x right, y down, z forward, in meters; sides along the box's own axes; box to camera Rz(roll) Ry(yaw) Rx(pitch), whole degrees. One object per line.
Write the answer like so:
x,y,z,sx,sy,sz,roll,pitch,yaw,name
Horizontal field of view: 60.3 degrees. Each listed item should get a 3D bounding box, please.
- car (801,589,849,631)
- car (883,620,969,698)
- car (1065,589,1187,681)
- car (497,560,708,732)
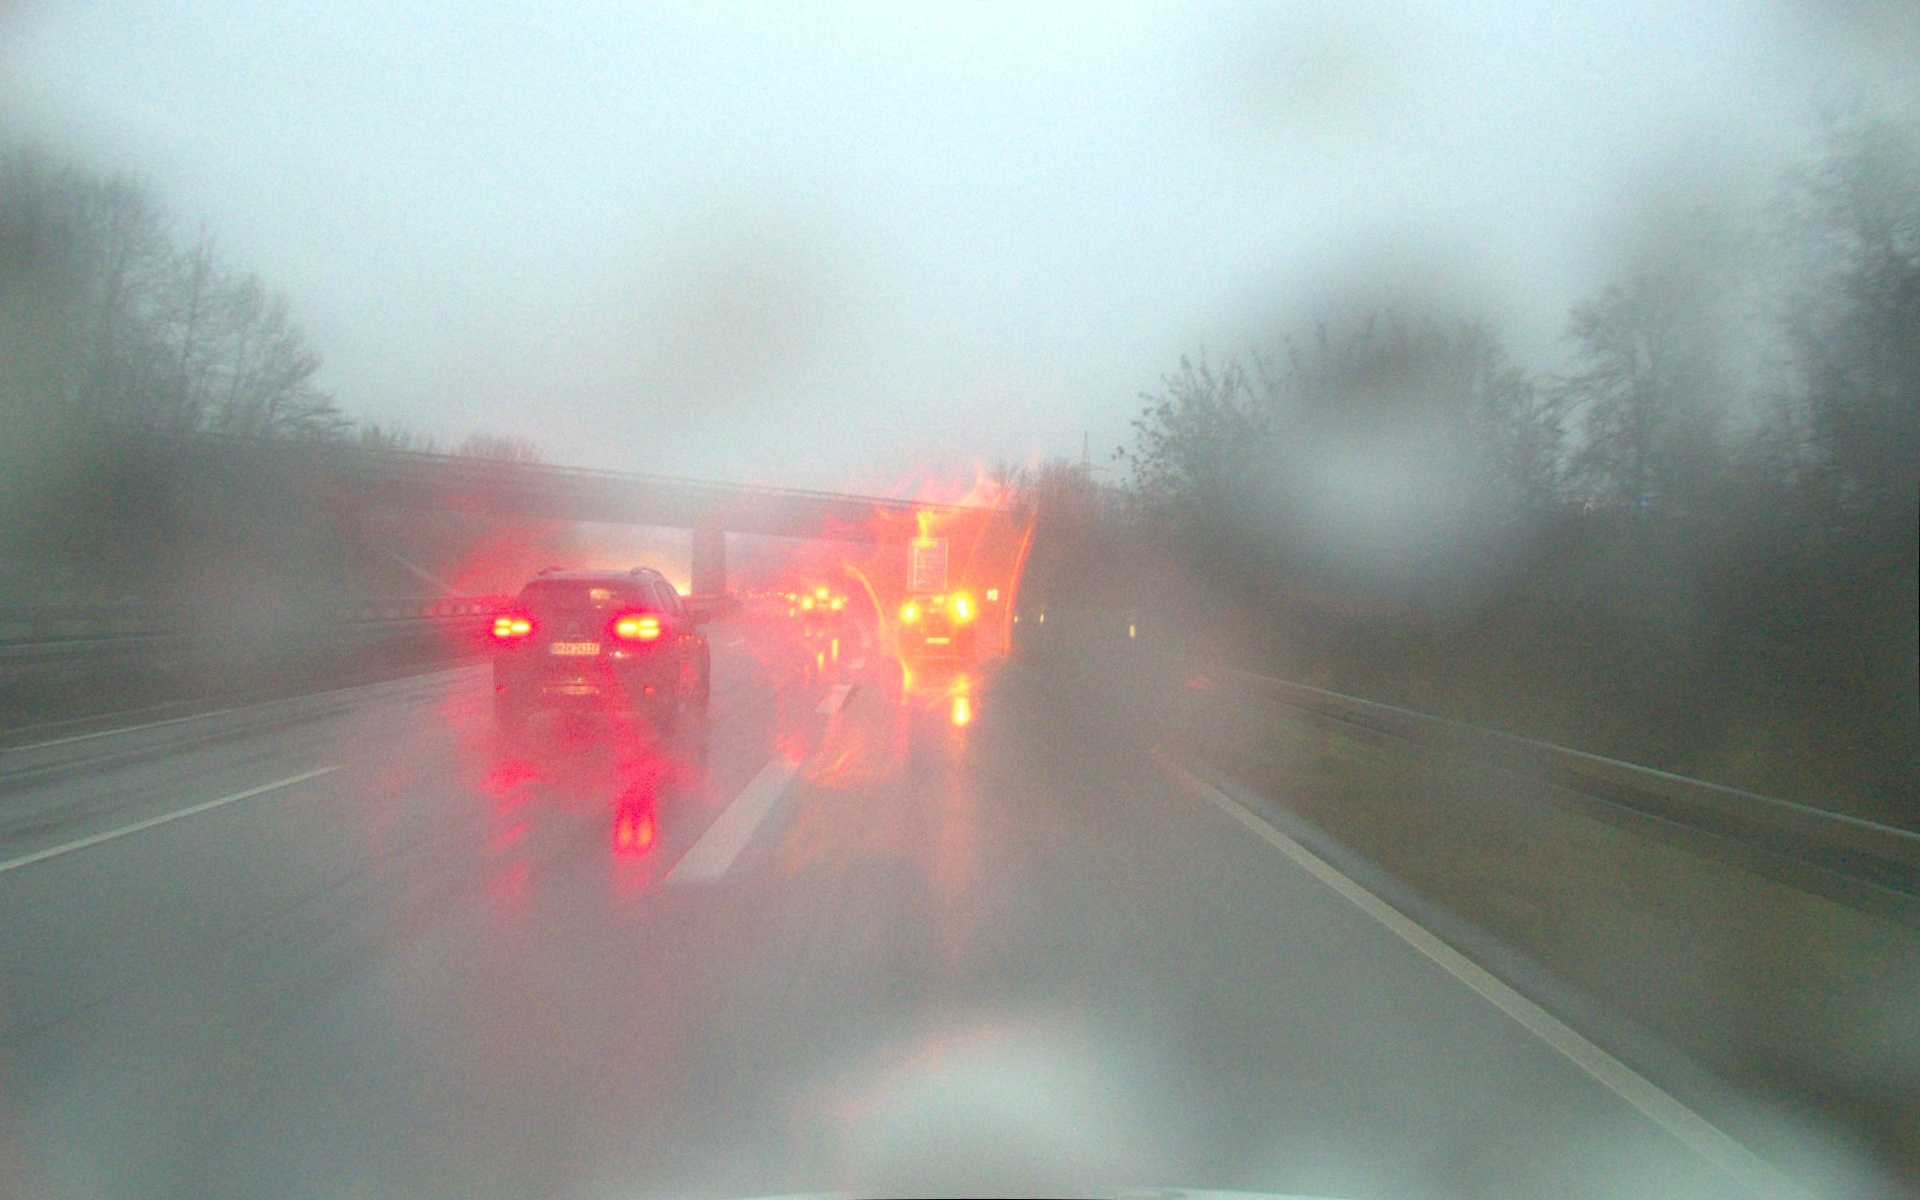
-5.897,0.418,72.430,1.840,1.645,3.874,2,2,-2,car
-0.714,1.283,37.165,1.696,1.454,3.767,2,1,2,car
2.725,0.569,27.865,1.648,1.443,3.874,0,-1,0,car
-3.862,0.445,18.482,1.956,1.694,3.993,0,0,-8,car
